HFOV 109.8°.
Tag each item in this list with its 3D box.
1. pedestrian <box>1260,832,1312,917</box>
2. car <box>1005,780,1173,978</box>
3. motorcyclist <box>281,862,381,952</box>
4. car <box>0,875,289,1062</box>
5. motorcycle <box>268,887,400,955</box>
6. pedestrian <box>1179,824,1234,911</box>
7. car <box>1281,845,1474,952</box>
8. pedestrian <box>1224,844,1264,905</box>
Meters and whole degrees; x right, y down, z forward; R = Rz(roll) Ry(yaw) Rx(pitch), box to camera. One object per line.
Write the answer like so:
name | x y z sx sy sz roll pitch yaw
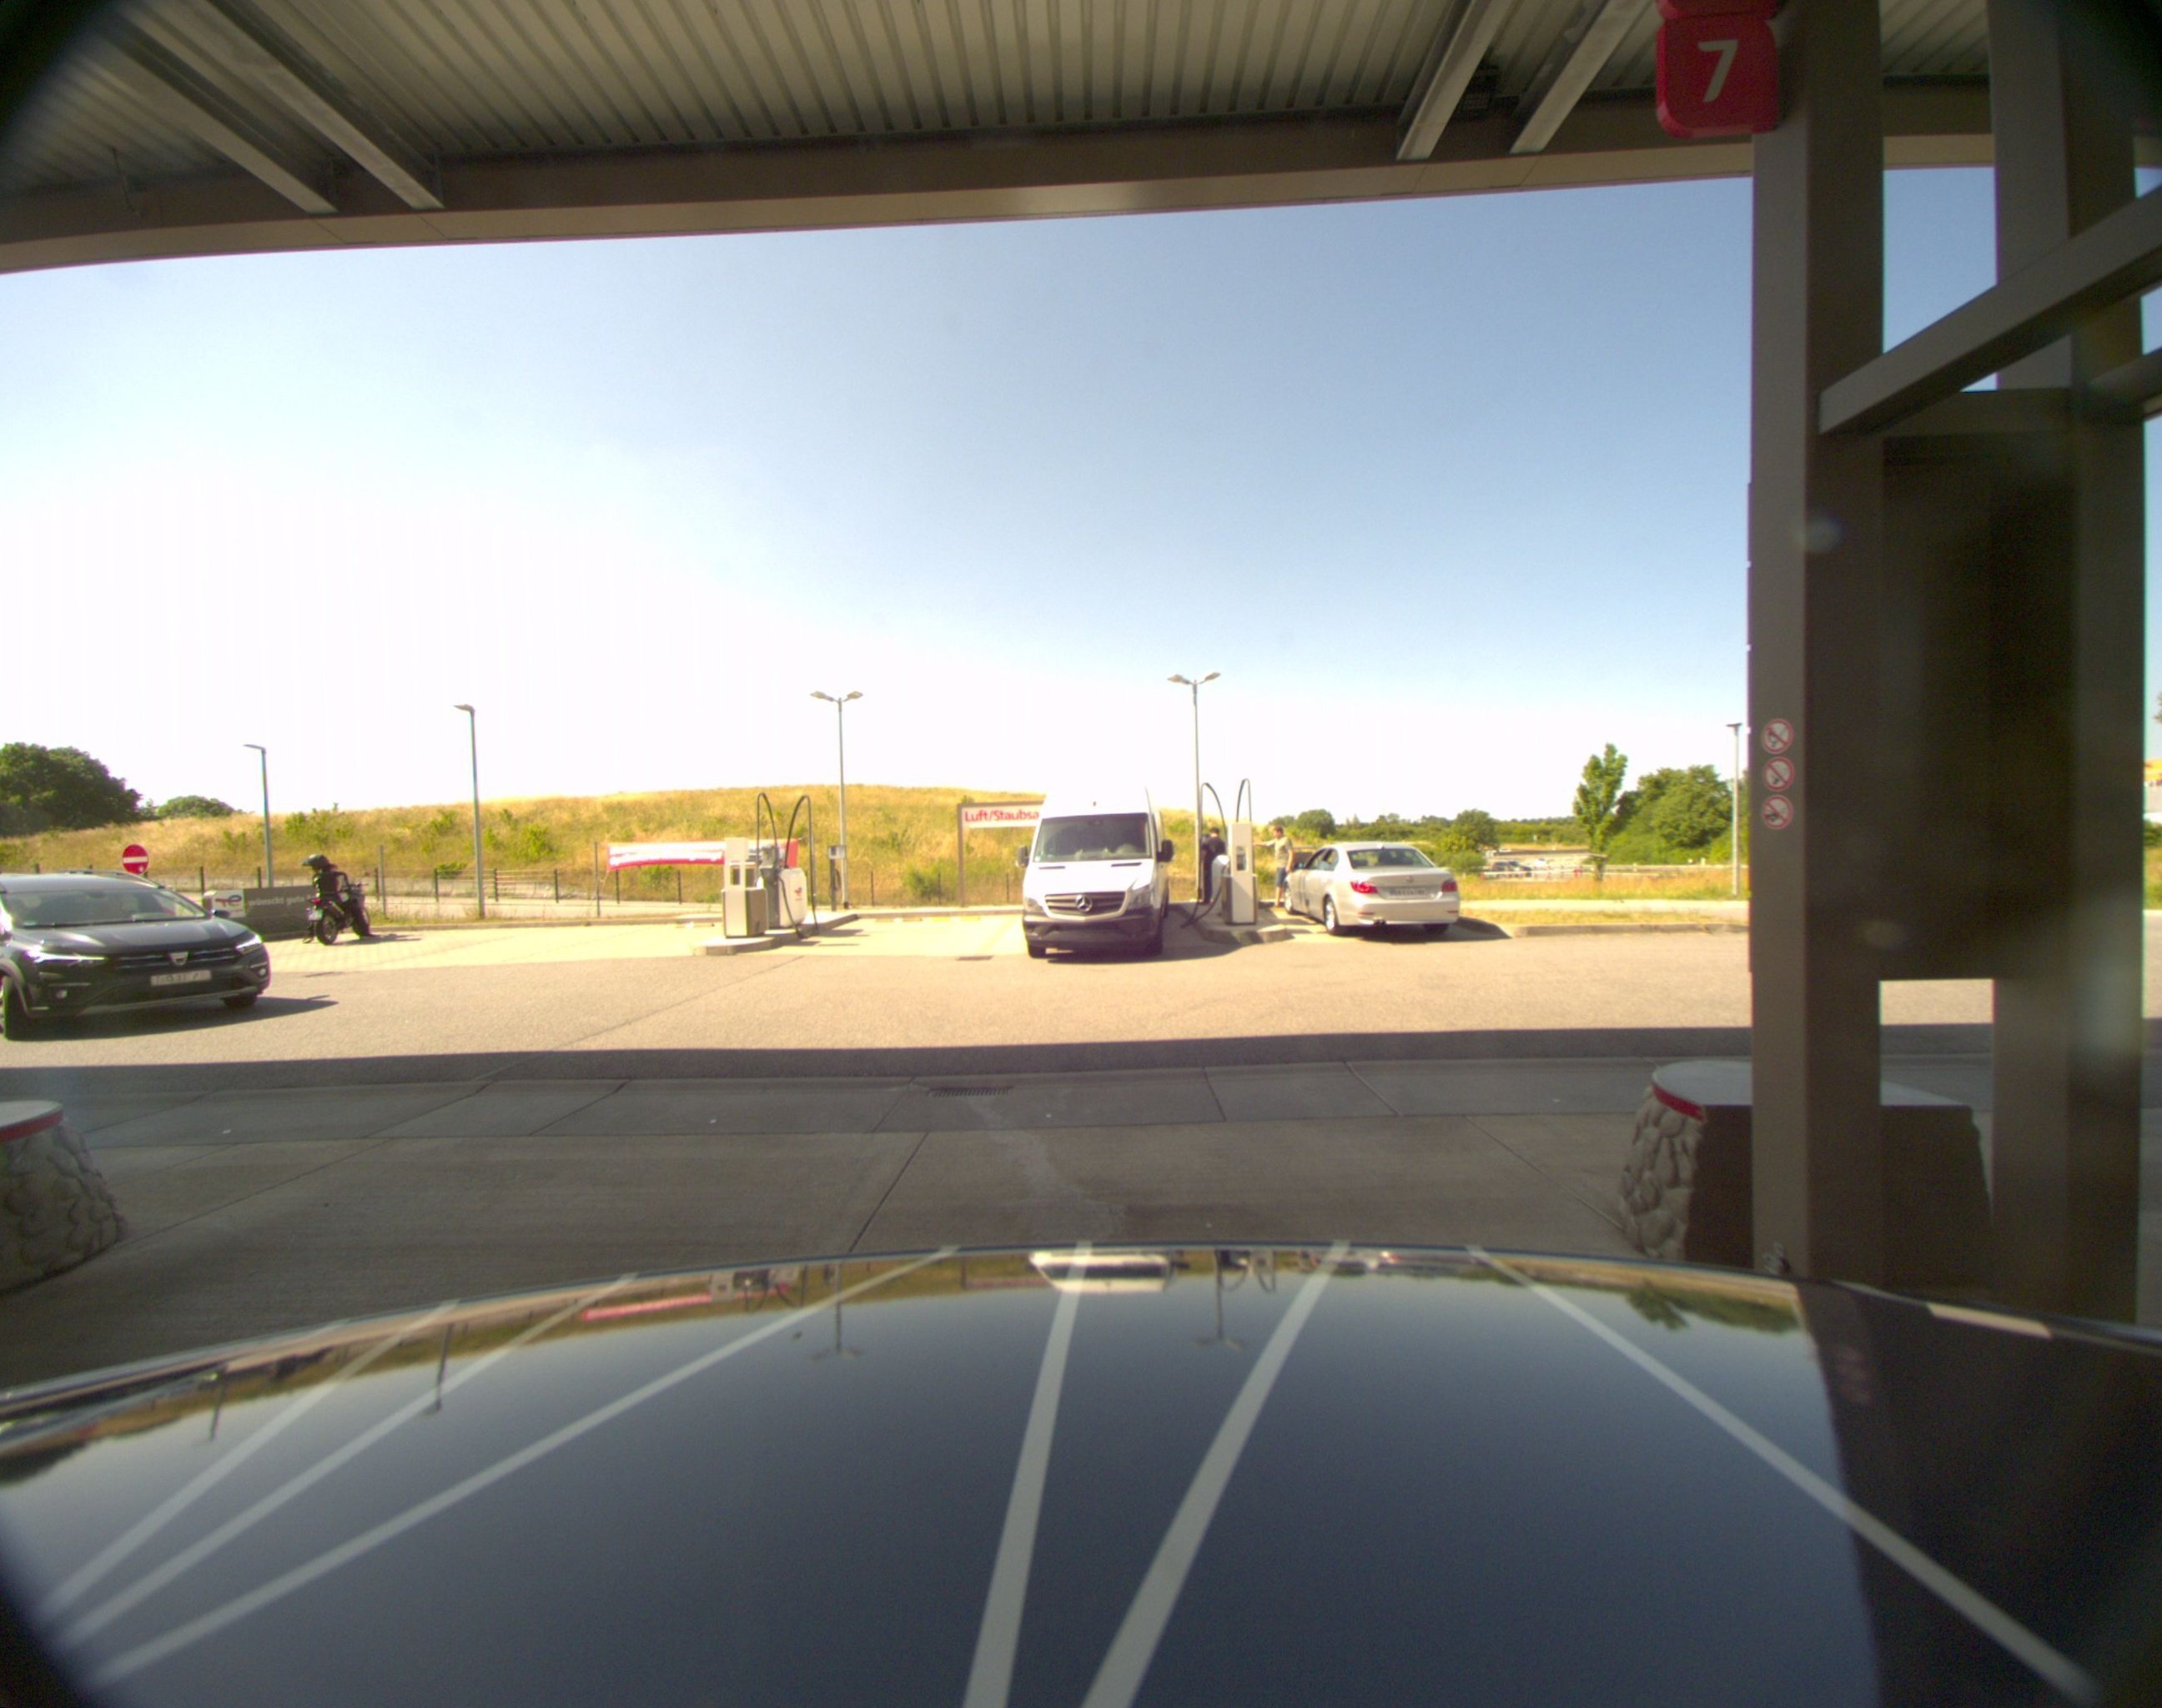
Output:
pedestrian | 4.326 0.417 16.044 0.845 1.739 0.709 -2 1 -3
car | 0.520 0.170 13.408 1.997 2.557 7.032 -1 3 8
motorcyclist | -14.980 1.026 15.231 1.036 1.678 1.096 -2 1 -23
car | -11.445 1.114 8.515 4.622 1.635 1.746 -1 1 19
motorcycle | -15.064 1.300 15.431 1.047 1.100 2.411 -2 2 -23
pedestrian | 2.634 0.265 15.972 0.710 1.759 0.843 -3 1 -42
car | 4.841 0.628 13.107 1.791 1.420 4.321 -1 2 3
pedestrian | 3.622 0.445 16.841 0.576 1.299 0.670 0 1 43
